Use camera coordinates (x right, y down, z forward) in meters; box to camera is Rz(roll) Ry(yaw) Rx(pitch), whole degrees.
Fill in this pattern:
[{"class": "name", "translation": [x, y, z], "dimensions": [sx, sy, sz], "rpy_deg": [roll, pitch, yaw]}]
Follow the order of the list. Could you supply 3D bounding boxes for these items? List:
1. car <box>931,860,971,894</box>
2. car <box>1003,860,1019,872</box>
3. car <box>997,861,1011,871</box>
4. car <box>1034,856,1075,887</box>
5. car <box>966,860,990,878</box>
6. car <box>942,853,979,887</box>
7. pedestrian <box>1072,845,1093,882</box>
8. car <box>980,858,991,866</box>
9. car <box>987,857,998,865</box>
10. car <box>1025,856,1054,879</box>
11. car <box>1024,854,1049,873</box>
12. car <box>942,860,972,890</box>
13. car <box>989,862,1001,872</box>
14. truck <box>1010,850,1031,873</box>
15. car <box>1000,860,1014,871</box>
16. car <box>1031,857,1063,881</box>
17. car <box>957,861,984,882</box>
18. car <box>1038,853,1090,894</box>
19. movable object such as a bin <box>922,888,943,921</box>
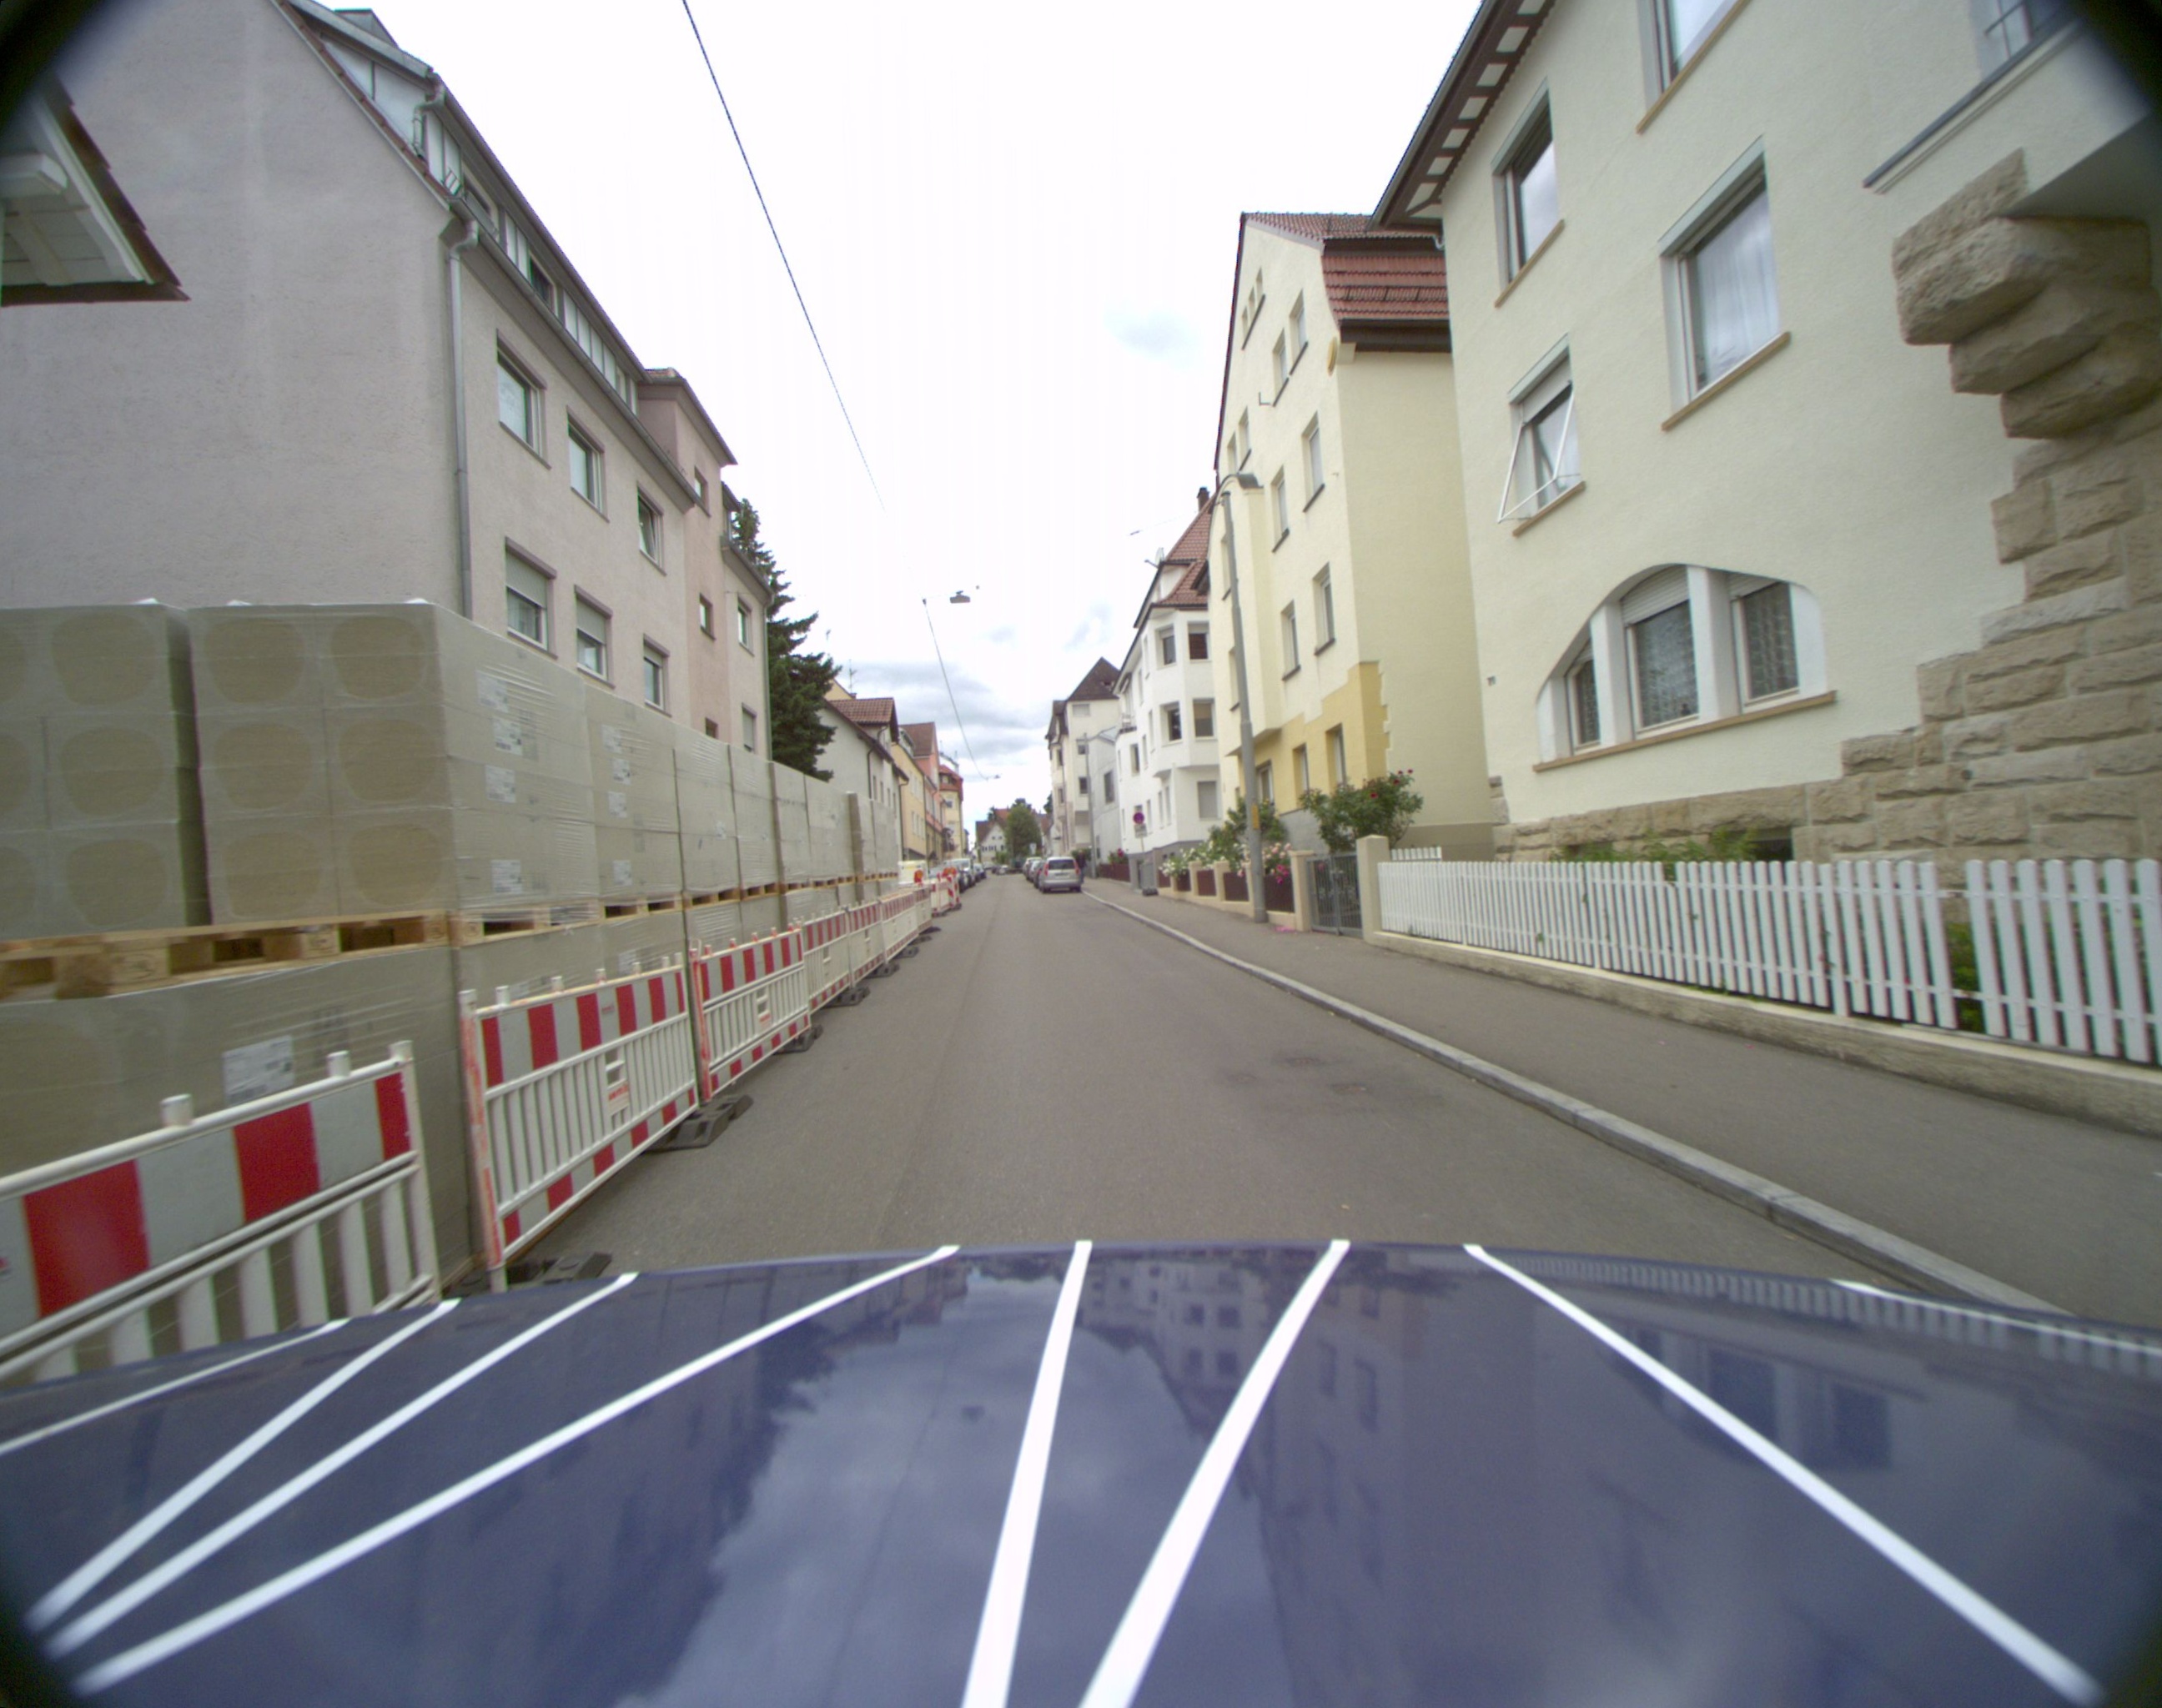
[{"class": "car", "translation": [-6.835, 1.180, 40.325], "dimensions": [1.718, 1.587, 4.496], "rpy_deg": [-5, 0, -6]}, {"class": "car", "translation": [-9.791, 1.677, 106.196], "dimensions": [1.856, 1.454, 3.944], "rpy_deg": [-2, -1, -10]}, {"class": "car", "translation": [-12.627, 1.963, 124.706], "dimensions": [1.856, 1.641, 3.942], "rpy_deg": [-2, 0, -12]}, {"class": "car", "translation": [-1.469, 0.910, 40.426], "dimensions": [1.850, 1.449, 4.502], "rpy_deg": [-3, 0, -5]}, {"class": "car", "translation": [-9.164, 1.360, 67.947], "dimensions": [1.858, 1.395, 4.290], "rpy_deg": [-5, 0, -5]}, {"class": "car", "translation": [-7.944, 1.041, 50.708], "dimensions": [1.911, 2.018, 5.730], "rpy_deg": [-5, 0, -5]}, {"class": "pedestrian", "translation": [0.095, 0.475, 39.838], "dimensions": [0.817, 1.873, 0.848], "rpy_deg": [-3, 0, 17]}, {"class": "car", "translation": [-20.156, 1.707, 159.881], "dimensions": [1.856, 1.441, 3.941], "rpy_deg": [-2, 1, -12]}, {"class": "car", "translation": [-17.970, 1.415, 154.147], "dimensions": [1.856, 1.441, 3.942], "rpy_deg": [-2, 0, -12]}, {"class": "car", "translation": [-3.118, 0.962, 56.627], "dimensions": [1.901, 1.518, 4.468], "rpy_deg": [-3, 1, -5]}, {"class": "car", "translation": [-3.983, 0.843, 66.921], "dimensions": [1.850, 1.506, 4.238], "rpy_deg": [-3, 0, -7]}, {"class": "car", "translation": [-7.447, 1.252, 45.765], "dimensions": [1.491, 1.587, 2.789], "rpy_deg": [-5, 0, -6]}, {"class": "car", "translation": [-15.404, 2.290, 135.965], "dimensions": [1.856, 1.641, 3.942], "rpy_deg": [-2, 0, -12]}, {"class": "truck", "translation": [-7.553, 1.001, 94.733], "dimensions": [2.317, 2.536, 6.287], "rpy_deg": [-2, -2, -6]}, {"class": "car", "translation": [-11.479, 1.811, 118.177], "dimensions": [1.856, 1.640, 3.944], "rpy_deg": [-2, -1, -10]}, {"class": "car", "translation": [-2.300, 0.974, 50.749], "dimensions": [1.850, 1.405, 5.059], "rpy_deg": [-3, 1, -5]}, {"class": "car", "translation": [-8.943, 1.401, 61.822], "dimensions": [1.858, 1.395, 4.572], "rpy_deg": [-7, 1, -6]}, {"class": "car", "translation": [-0.839, 0.842, 34.026], "dimensions": [1.850, 1.621, 4.284], "rpy_deg": [-3, 0, -7]}, {"class": "movable object such as a bin", "translation": [-4.347, 1.476, 22.233], "dimensions": [0.400, 0.887, 0.364], "rpy_deg": [-5, 1, 33]}]
